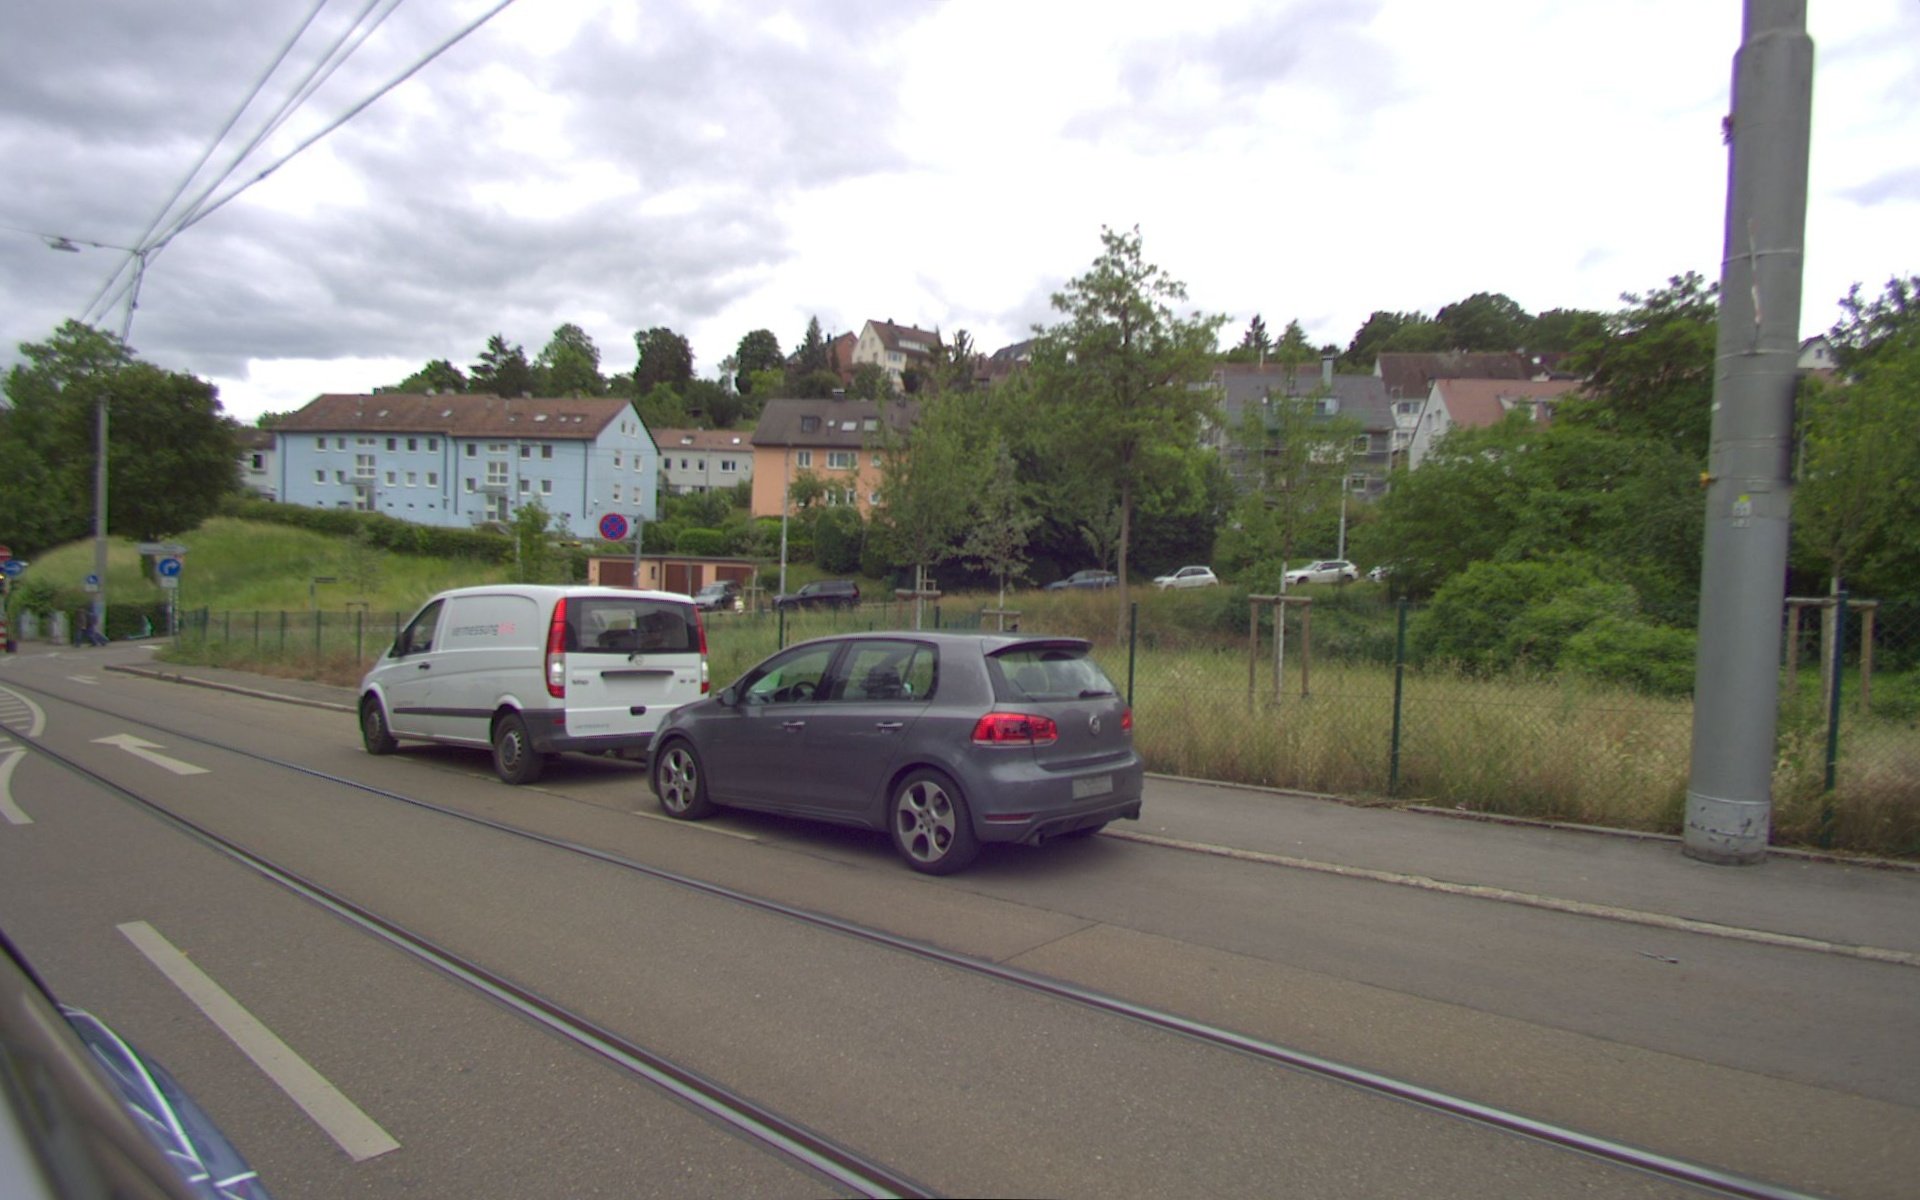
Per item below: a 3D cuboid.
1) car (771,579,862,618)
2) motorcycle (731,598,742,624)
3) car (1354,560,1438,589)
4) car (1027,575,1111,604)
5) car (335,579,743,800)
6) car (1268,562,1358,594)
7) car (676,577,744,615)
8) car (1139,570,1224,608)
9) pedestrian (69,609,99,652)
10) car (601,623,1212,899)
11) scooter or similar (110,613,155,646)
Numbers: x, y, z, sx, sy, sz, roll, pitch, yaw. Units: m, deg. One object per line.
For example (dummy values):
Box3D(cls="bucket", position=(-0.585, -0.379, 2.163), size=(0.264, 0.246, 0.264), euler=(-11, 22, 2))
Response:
Box3D(cls="car", position=(-7.321, -0.103, 51.488), size=(4.378, 1.702, 1.982), euler=(-4, 1, -12))
Box3D(cls="motorcycle", position=(-11.160, 0.539, 50.562), size=(0.513, 1.165, 1.710), euler=(0, 4, -14))
Box3D(cls="car", position=(25.097, -1.453, 58.337), size=(4.065, 1.670, 1.841), euler=(0, 0, -10))
Box3D(cls="car", position=(5.830, -0.560, 54.207), size=(4.065, 1.523, 1.987), euler=(0, 0, -10))
Box3D(cls="car", position=(-4.744, 0.806, 11.047), size=(4.880, 1.896, 2.015), euler=(0, -3, 39))
Box3D(cls="car", position=(19.989, -1.247, 57.315), size=(4.411, 1.802, 1.906), euler=(0, 0, -10))
Box3D(cls="car", position=(-13.618, -0.279, 55.451), size=(1.976, 1.624, 4.871), euler=(0, 6, 7))
Box3D(cls="car", position=(12.195, -0.624, 55.809), size=(4.064, 2.029, 1.987), euler=(0, 0, -11))
Box3D(cls="pedestrian", position=(-36.822, 1.289, 42.558), size=(0.887, 1.763, 0.744), euler=(0, 0, -36))
Box3D(cls="car", position=(-0.621, 0.901, 7.532), size=(4.508, 1.443, 1.877), euler=(-1, -2, 41))
Box3D(cls="scooter or similar", position=(-36.661, 1.300, 44.850), size=(0.418, 1.298, 1.394), euler=(0, 4, 41))
